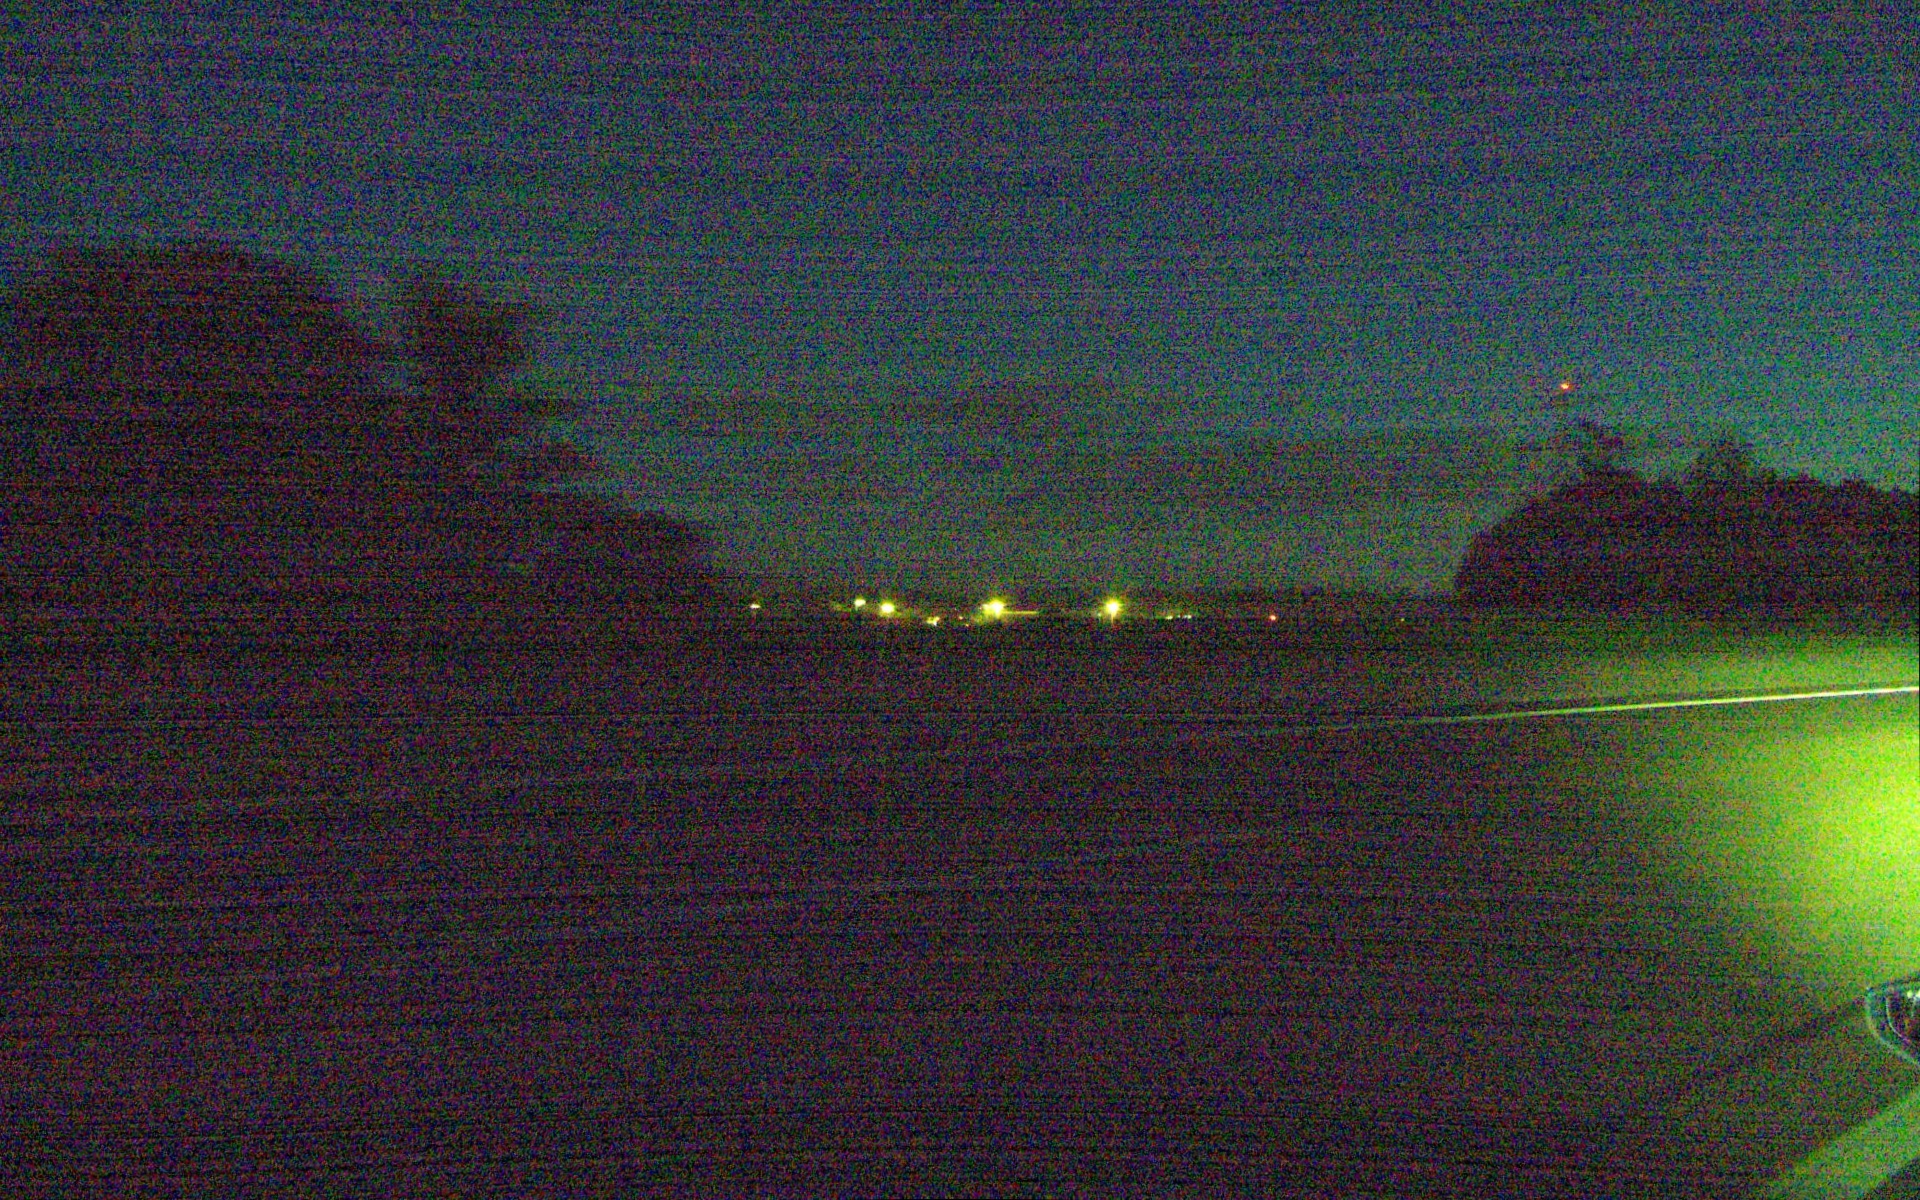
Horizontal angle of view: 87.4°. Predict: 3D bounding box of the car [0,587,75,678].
[{"bbox_3d":[-16.964,0.475,16.010,3.953,1.439,1.833,1,0,-30],"label":"car"}]
